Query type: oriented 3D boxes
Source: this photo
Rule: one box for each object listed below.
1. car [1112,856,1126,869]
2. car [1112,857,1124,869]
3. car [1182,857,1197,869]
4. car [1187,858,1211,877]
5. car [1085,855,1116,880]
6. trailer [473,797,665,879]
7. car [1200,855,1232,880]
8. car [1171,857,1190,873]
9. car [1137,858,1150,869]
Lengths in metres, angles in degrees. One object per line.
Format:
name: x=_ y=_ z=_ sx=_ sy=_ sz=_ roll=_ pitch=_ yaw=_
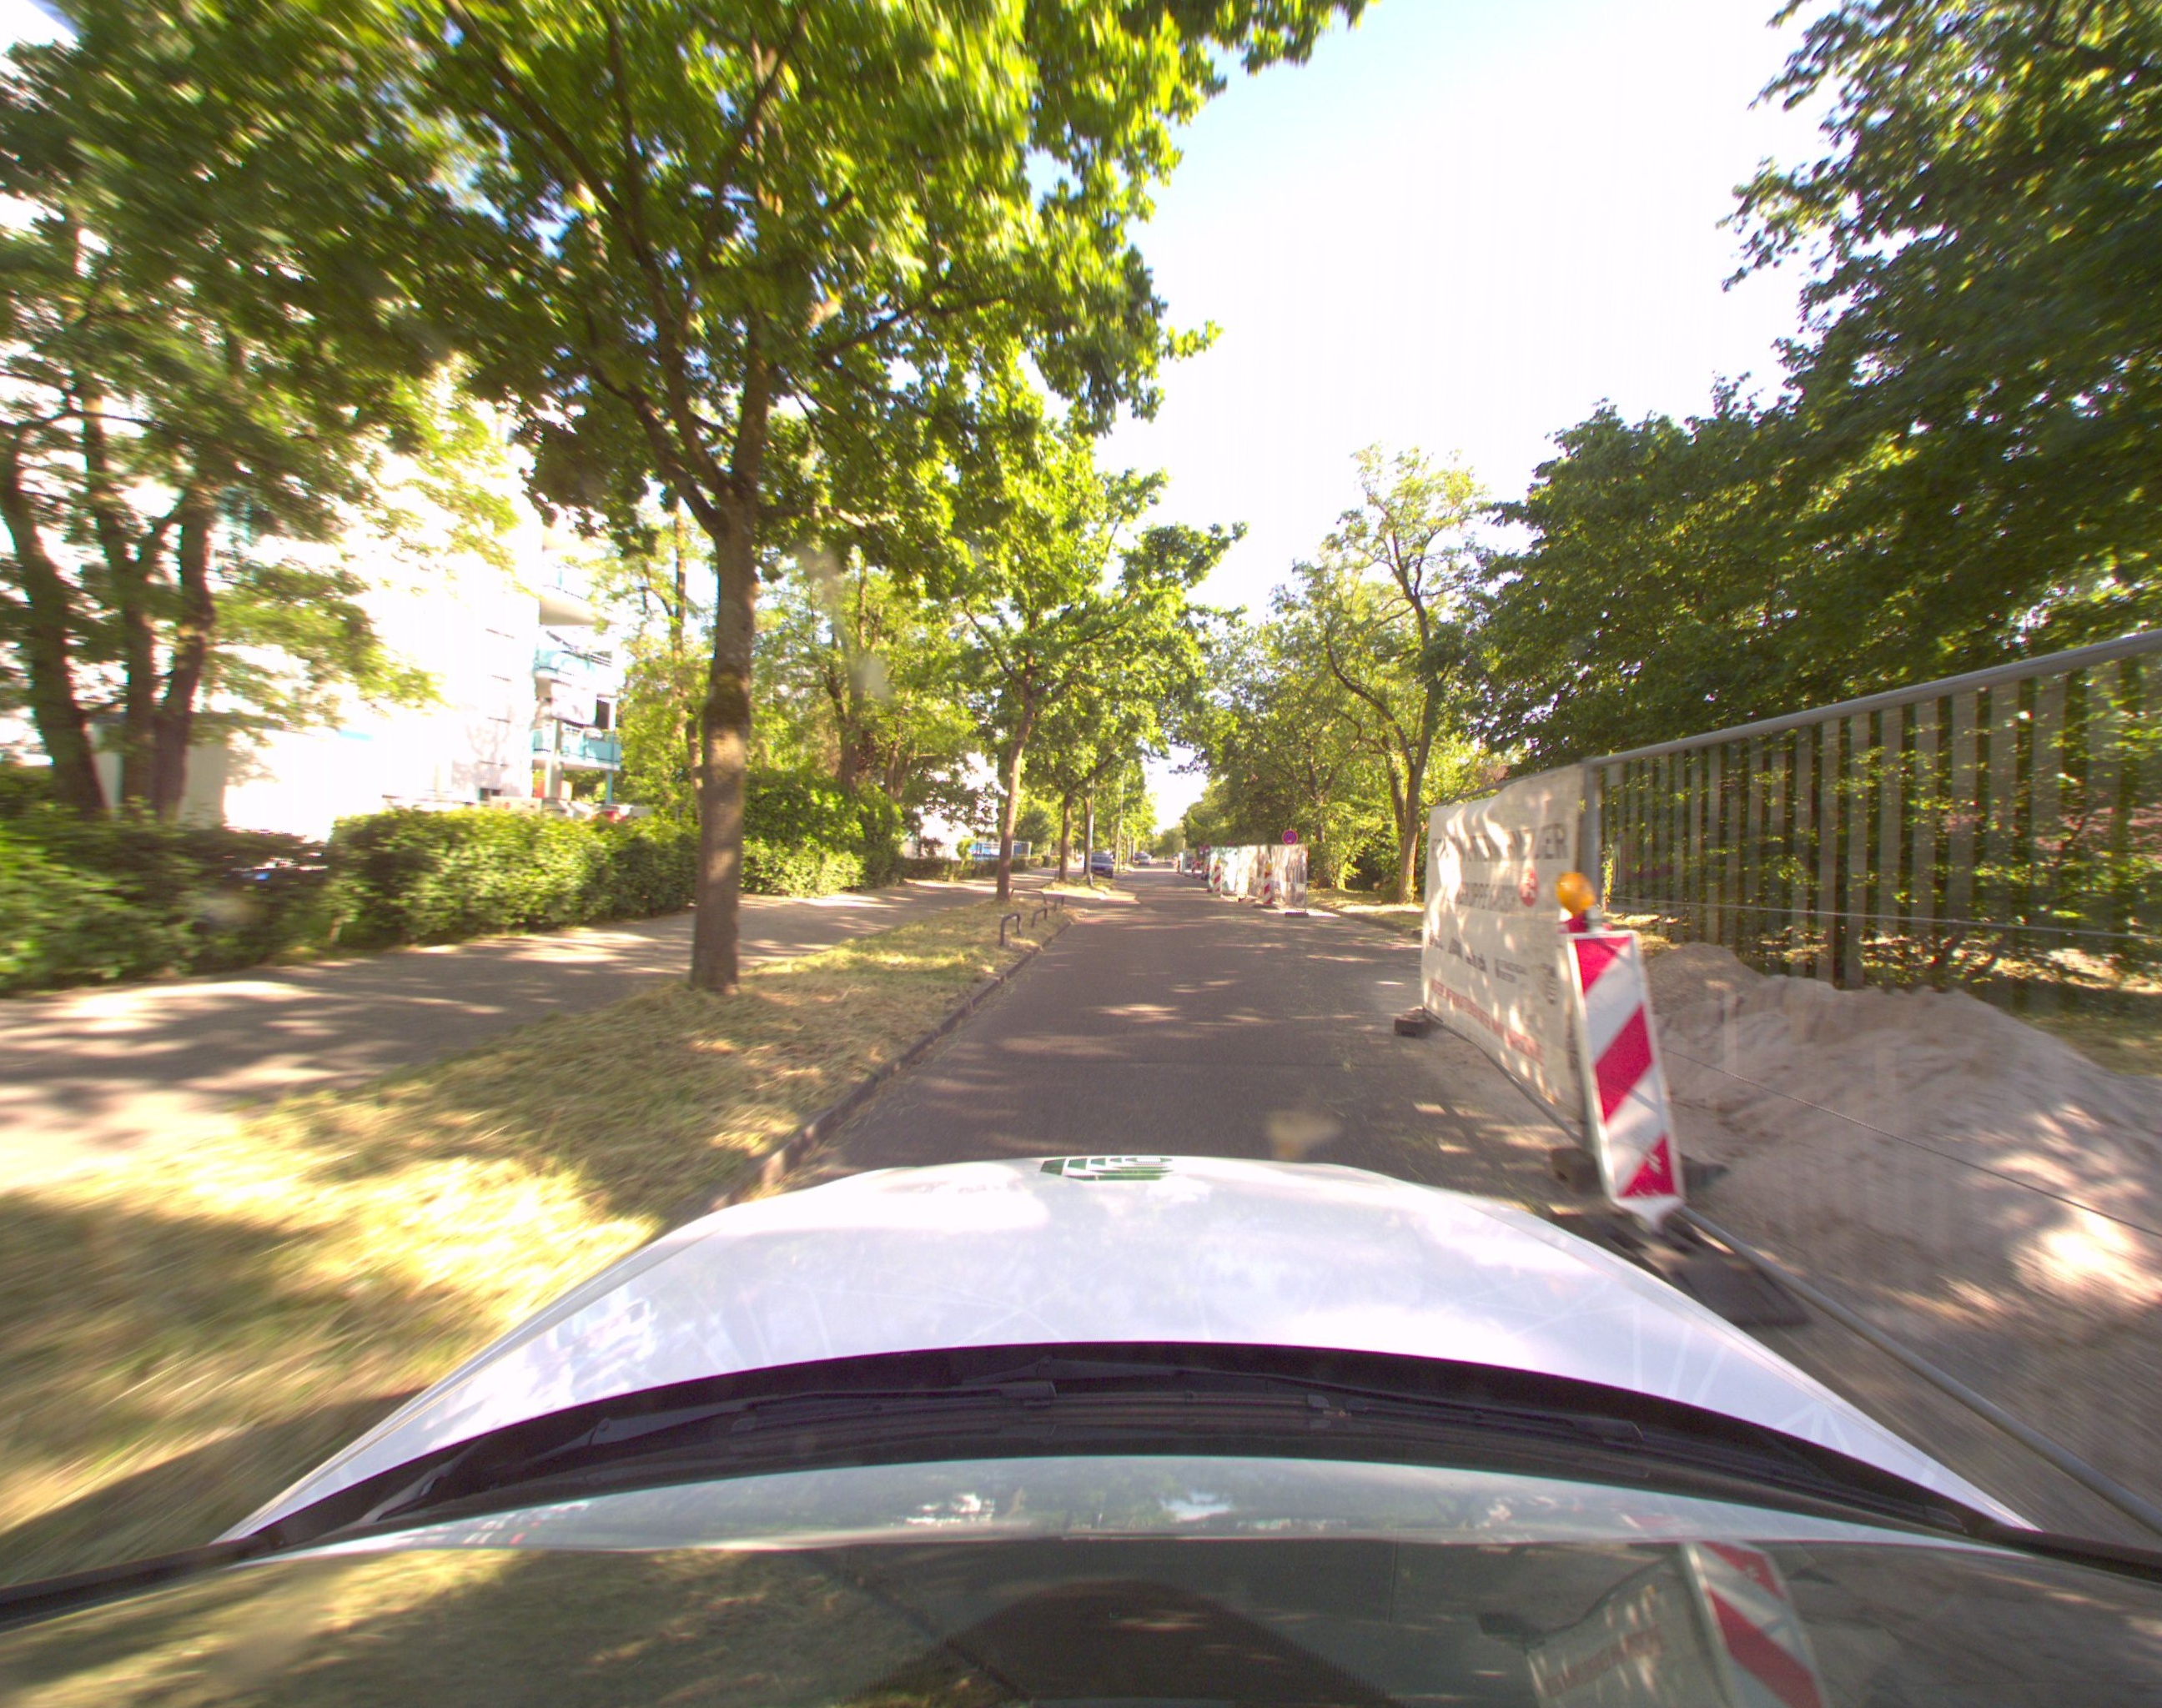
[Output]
car: x=4.028 y=0.911 z=86.522 sx=1.356 sy=1.302 sz=3.483 roll=3 pitch=-1 yaw=2
car: x=4.467 y=1.083 z=98.274 sx=1.356 sy=1.302 sz=3.483 roll=3 pitch=-1 yaw=2
car: x=13.763 y=1.100 z=103.310 sx=1.785 sy=1.409 sz=4.007 roll=2 pitch=0 yaw=6
car: x=8.760 y=0.975 z=60.584 sx=1.356 sy=1.302 sz=3.483 roll=3 pitch=-1 yaw=2
car: x=1.265 y=0.830 z=51.218 sx=1.743 sy=1.478 sz=3.840 roll=2 pitch=0 yaw=3
trailer: x=-14.216 y=-0.400 z=22.984 sx=1.963 sy=2.042 sz=4.444 roll=2 pitch=0 yaw=12
car: x=9.010 y=0.891 z=54.639 sx=1.745 sy=1.595 sz=3.661 roll=2 pitch=0 yaw=3
car: x=8.951 y=1.010 z=73.585 sx=1.356 sy=1.302 sz=3.483 roll=3 pitch=-1 yaw=2
car: x=9.962 y=1.508 z=129.795 sx=1.704 sy=1.585 sz=4.000 roll=3 pitch=-1 yaw=1
